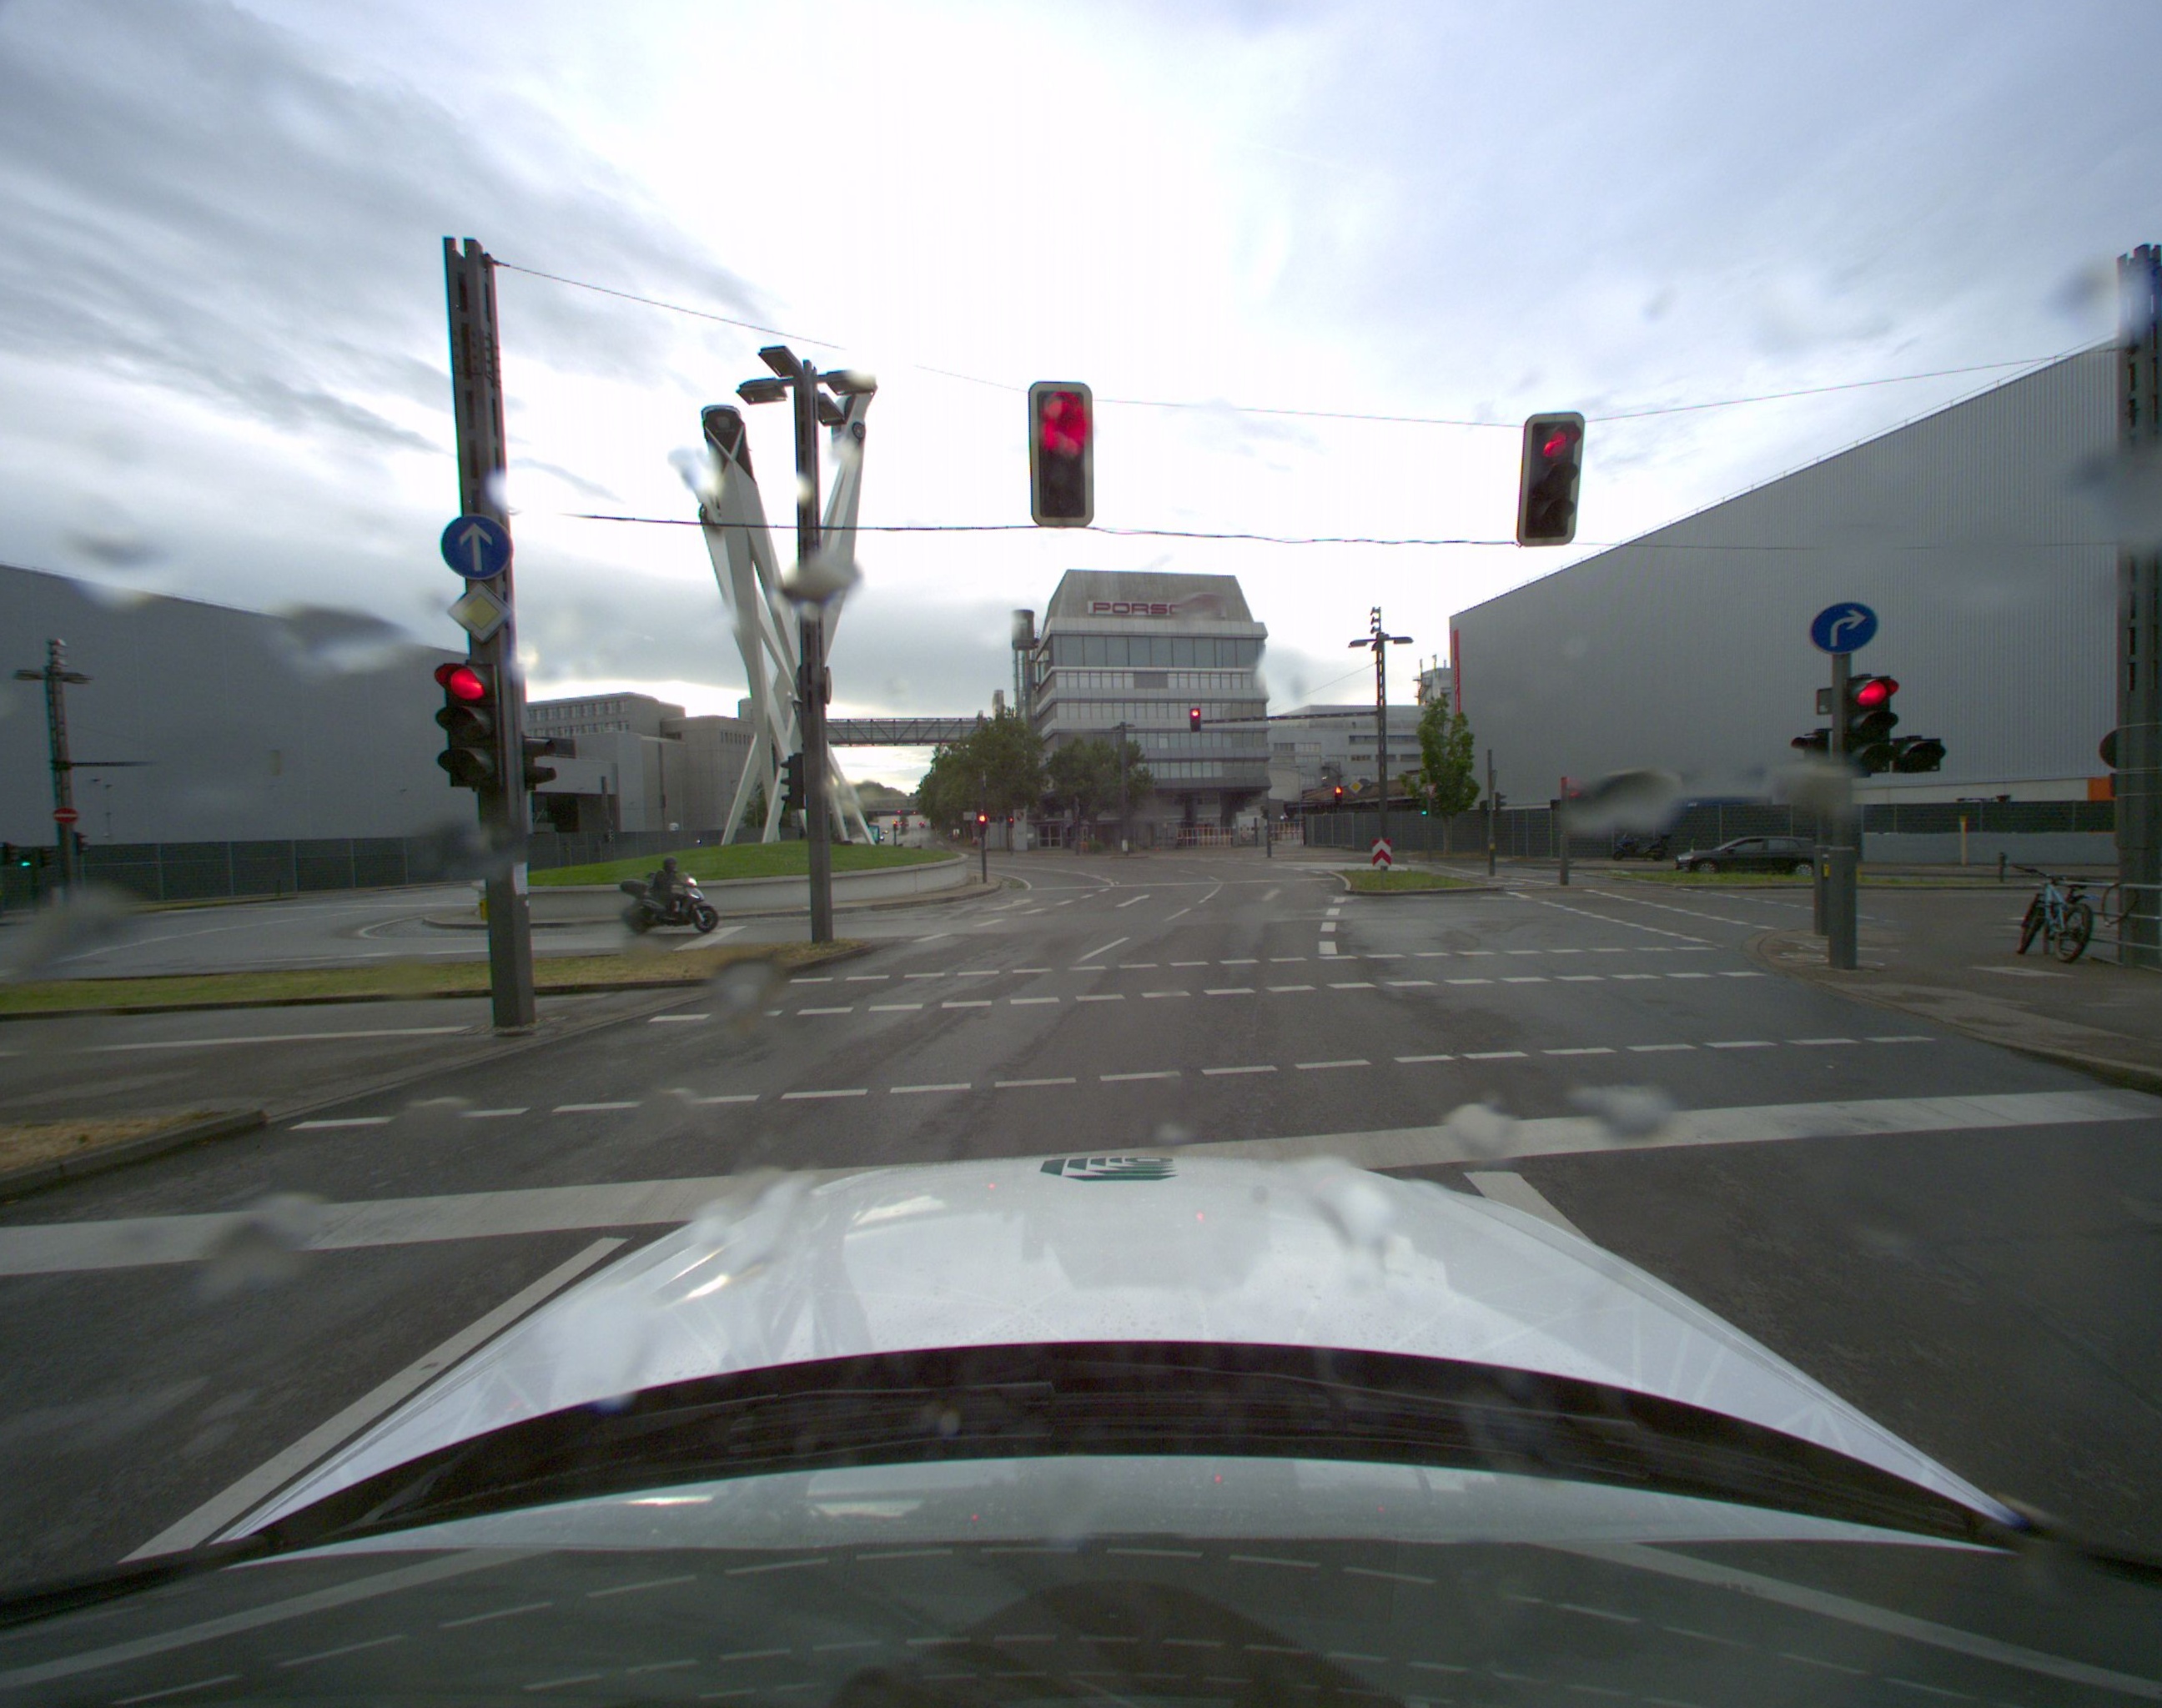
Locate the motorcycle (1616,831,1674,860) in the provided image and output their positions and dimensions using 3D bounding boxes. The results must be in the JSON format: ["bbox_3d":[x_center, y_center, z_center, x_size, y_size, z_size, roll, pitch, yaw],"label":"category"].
[{"bbox_3d":[25.578,-0.402,36.956,2.074,1.310,0.659,0,2,27],"label":"motorcycle"}]

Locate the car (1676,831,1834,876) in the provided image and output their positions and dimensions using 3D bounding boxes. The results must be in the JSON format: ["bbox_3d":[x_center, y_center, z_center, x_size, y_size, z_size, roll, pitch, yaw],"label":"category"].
[{"bbox_3d":[22.834,-0.035,27.792,3.949,1.425,1.732,0,1,31],"label":"car"}]

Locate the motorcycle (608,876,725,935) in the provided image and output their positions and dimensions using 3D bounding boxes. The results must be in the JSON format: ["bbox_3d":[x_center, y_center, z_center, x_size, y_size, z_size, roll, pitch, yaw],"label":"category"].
[{"bbox_3d":[-8.993,1.114,17.696,2.252,1.192,0.450,-2,0,-1],"label":"motorcycle"}]

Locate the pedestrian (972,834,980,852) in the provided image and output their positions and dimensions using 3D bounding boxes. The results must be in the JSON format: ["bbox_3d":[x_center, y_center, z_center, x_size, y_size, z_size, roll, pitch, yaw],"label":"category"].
[{"bbox_3d":[-9.840,-1.033,76.353,0.708,1.591,0.839,-2,2,-7],"label":"pedestrian"}]

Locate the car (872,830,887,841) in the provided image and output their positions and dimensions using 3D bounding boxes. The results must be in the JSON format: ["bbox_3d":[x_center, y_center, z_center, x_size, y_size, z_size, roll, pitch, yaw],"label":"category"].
[{"bbox_3d":[-40.279,-3.632,162.823,1.986,2.014,4.001,0,-1,2],"label":"car"}]

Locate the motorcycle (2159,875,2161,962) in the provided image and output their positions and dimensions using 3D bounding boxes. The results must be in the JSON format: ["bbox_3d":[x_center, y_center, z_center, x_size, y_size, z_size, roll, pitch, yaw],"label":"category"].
[{"bbox_3d":[15.186,0.837,10.285,2.074,1.145,0.490,0,-1,11],"label":"motorcycle"}]

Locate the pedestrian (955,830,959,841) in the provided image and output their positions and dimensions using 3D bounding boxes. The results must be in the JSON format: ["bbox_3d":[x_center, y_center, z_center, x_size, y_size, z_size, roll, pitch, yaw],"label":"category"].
[{"bbox_3d":[-19.963,-3.015,131.130,0.757,1.740,0.712,0,-1,-8],"label":"pedestrian"}]

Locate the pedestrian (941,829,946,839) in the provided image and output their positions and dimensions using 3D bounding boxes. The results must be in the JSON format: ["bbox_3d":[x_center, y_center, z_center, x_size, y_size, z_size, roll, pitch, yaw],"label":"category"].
[{"bbox_3d":[-28.154,-4.153,166.970,0.761,2.013,0.693,-1,1,5],"label":"pedestrian"}]

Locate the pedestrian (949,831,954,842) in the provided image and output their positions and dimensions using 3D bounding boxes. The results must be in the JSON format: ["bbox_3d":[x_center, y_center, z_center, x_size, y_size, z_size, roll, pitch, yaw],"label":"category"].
[{"bbox_3d":[-19.388,-2.619,121.880,0.712,1.740,0.757,0,-1,-12],"label":"pedestrian"}]

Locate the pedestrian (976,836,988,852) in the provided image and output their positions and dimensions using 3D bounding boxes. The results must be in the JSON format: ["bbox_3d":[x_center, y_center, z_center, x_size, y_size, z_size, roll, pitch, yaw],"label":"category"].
[{"bbox_3d":[-9.170,-0.932,75.244,0.835,1.520,0.836,-3,2,-22],"label":"pedestrian"}]

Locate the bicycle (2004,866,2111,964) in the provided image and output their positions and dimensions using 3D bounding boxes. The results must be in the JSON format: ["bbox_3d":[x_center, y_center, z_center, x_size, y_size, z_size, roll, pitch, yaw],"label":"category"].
[{"bbox_3d":[12.569,0.732,10.531,0.416,1.130,2.086,-1,-1,37],"label":"bicycle"}]

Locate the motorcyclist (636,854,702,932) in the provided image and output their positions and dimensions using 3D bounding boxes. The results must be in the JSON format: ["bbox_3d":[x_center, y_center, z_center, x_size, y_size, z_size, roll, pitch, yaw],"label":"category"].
[{"bbox_3d":[-8.914,0.836,17.655,1.027,1.622,0.671,-2,0,2],"label":"motorcyclist"}]

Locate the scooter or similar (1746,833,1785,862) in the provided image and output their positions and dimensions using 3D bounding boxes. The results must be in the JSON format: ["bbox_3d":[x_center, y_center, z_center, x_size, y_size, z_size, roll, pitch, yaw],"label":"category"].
[{"bbox_3d":[29.407,-0.296,35.008,1.254,1.199,0.428,1,2,42],"label":"scooter or similar"}]

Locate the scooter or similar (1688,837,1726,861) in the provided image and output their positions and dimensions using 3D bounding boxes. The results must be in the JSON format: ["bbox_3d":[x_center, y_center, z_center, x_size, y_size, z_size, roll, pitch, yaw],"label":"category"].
[{"bbox_3d":[27.486,-0.219,35.755,0.387,1.028,1.259,-2,2,-29],"label":"scooter or similar"}]
